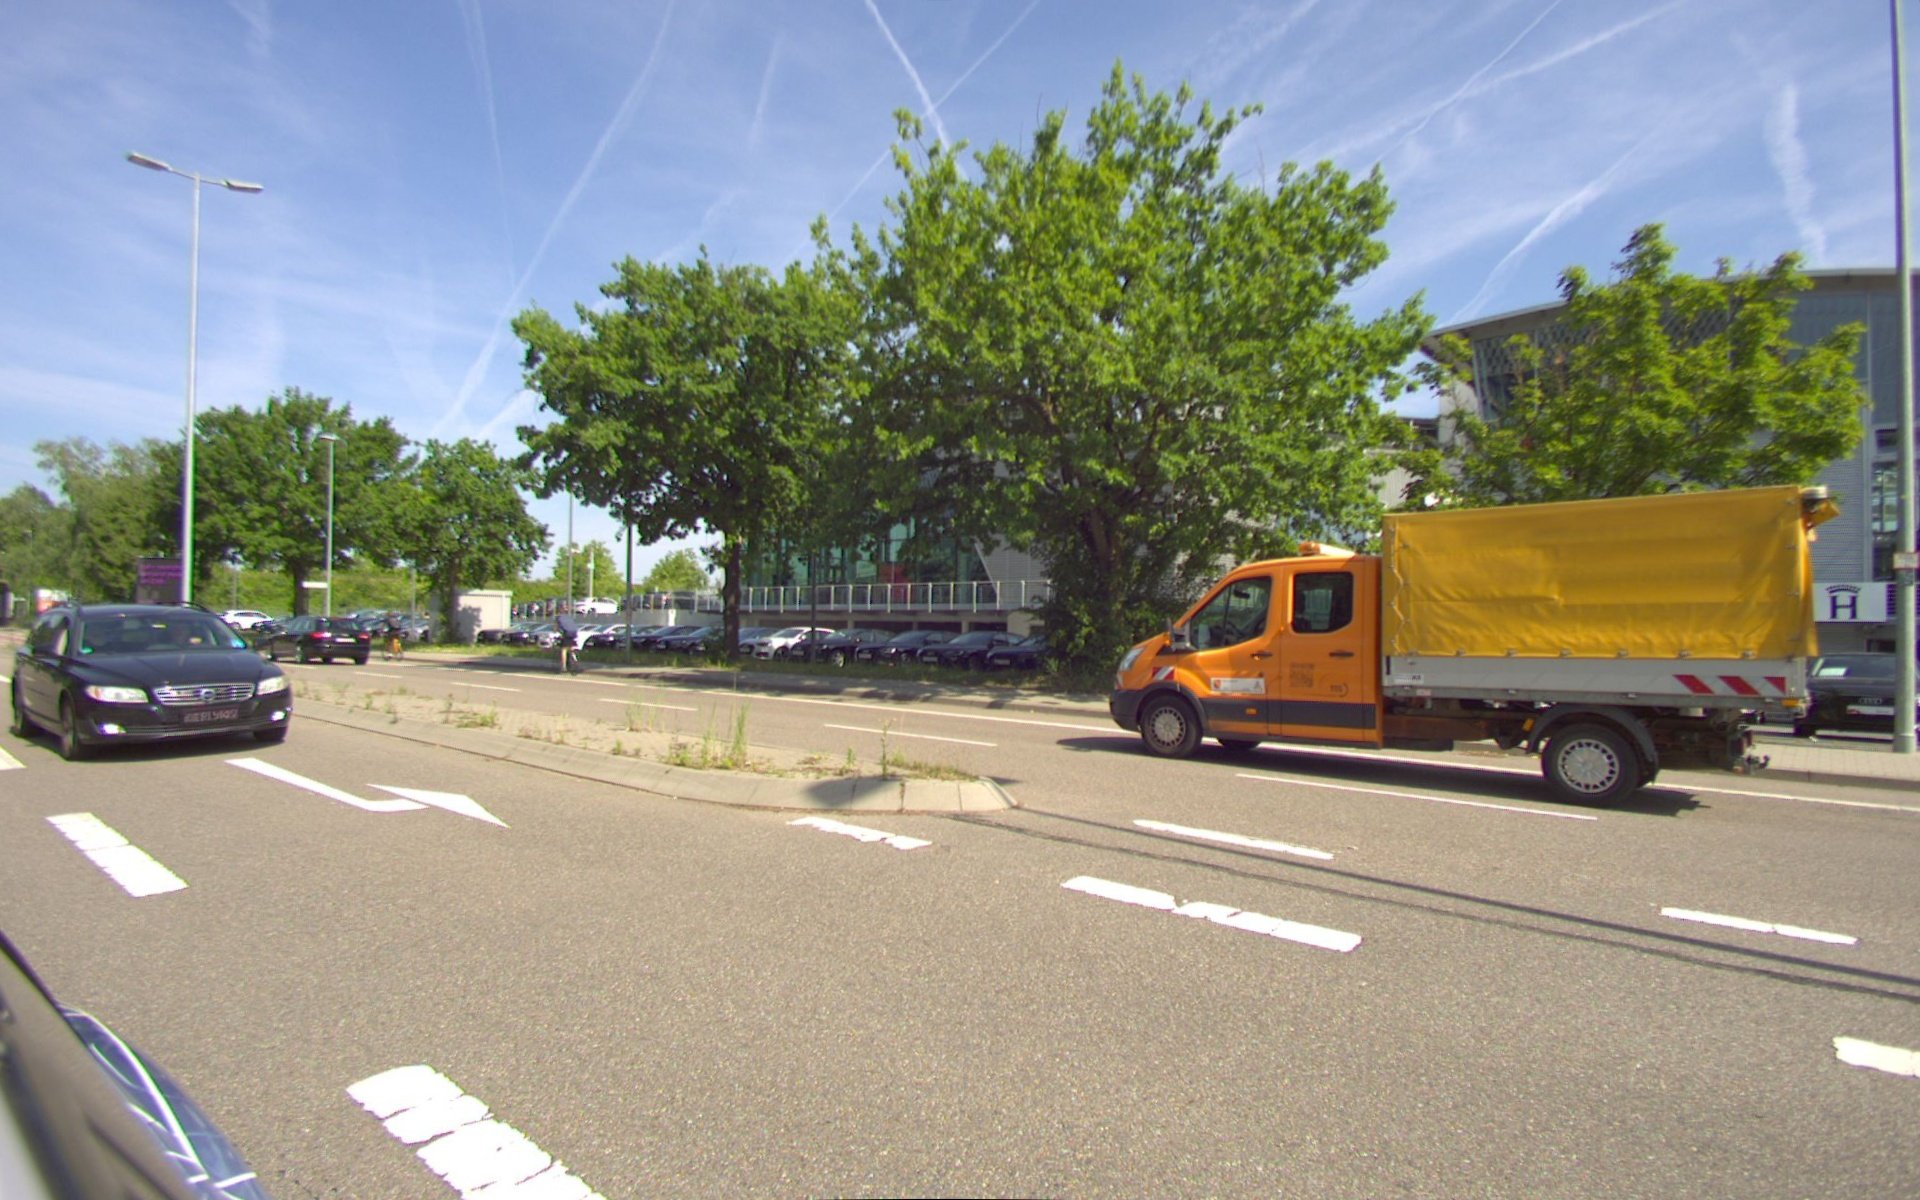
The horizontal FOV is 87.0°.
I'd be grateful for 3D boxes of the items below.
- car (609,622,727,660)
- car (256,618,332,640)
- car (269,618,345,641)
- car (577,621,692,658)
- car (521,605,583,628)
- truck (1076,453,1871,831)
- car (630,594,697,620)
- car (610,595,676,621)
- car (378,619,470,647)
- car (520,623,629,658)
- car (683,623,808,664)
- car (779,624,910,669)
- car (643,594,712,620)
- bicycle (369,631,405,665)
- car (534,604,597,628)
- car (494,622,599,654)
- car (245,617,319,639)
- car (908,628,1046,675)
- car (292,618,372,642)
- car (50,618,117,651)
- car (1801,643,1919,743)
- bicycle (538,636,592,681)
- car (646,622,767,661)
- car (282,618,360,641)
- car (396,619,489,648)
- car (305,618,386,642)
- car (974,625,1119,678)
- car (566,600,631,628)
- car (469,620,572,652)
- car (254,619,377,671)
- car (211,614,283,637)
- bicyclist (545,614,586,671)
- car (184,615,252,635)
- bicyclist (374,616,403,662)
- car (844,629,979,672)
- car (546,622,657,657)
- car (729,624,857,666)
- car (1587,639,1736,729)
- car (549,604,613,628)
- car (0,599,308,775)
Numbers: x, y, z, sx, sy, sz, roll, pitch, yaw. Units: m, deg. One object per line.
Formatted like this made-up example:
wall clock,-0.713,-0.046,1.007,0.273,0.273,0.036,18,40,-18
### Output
car,-11.390,1.623,39.648,1.690,1.269,4.141,-1,-5,42
car,-47.402,2.063,72.102,1.690,1.333,4.142,-1,-5,42
car,-45.464,2.069,70.524,1.690,1.333,4.141,-1,-5,42
car,-13.293,1.640,41.478,1.690,1.309,4.141,-1,-5,42
car,-32.019,1.324,79.430,1.690,1.510,4.141,-1,-5,42
truck,4.604,0.391,10.175,6.670,2.645,2.350,-1,-4,41
car,-20.371,0.524,69.693,1.690,1.510,4.141,-1,-5,42
car,-22.366,0.585,71.561,1.690,1.510,4.141,-1,-5,42
car,-29.874,1.846,56.453,1.690,1.333,4.141,-1,-5,42
car,-17.048,1.833,44.916,1.690,1.335,4.141,-1,-5,42
car,-7.573,1.570,36.081,1.690,1.215,4.141,-1,-5,42
car,-3.706,1.543,32.989,1.690,1.256,4.141,-1,-5,42
car,-18.817,0.465,67.470,1.690,1.416,4.141,-1,-5,42
bicycle,-20.163,1.687,35.613,1.770,1.159,0.565,-1,-4,43
car,-30.348,1.258,77.864,1.690,1.510,4.141,-1,-5,42
car,-18.998,1.750,46.636,1.690,1.256,4.141,-1,-5,42
car,-49.486,2.051,73.959,1.690,1.333,4.141,-1,-5,42
car,0.552,1.511,29.332,1.695,1.143,4.141,-1,-5,42
car,-41.569,2.007,67.032,1.690,1.333,4.141,-1,-5,42
car,-40.334,1.582,46.552,3.867,1.449,1.710,-1,-4,40
car,14.506,1.476,15.973,1.828,1.365,4.237,-1,-5,39
bicycle,-10.563,1.542,27.007,1.925,1.159,0.565,-1,-2,44
car,-9.413,1.571,37.815,1.690,1.264,4.141,-1,-5,42
car,-43.497,2.015,68.909,1.690,1.333,4.141,-1,-5,42
car,-27.964,1.802,54.772,1.690,1.333,4.141,-1,-5,42
car,-39.650,1.960,65.376,1.690,1.333,4.141,-1,-5,42
car,2.429,1.425,27.609,1.796,1.236,4.141,-1,-5,42
car,-26.579,1.043,74.598,1.690,1.745,4.141,-1,-5,42
car,-20.890,1.734,48.222,1.690,1.333,4.141,-1,-5,42
car,-20.177,1.380,31.595,4.660,1.471,1.828,-1,-5,40
car,-54.141,1.976,76.877,1.690,1.510,4.141,-1,-5,42
bicyclist,-10.532,1.127,26.996,1.143,1.494,0.564,-1,-3,44
car,-60.049,2.027,81.941,1.690,1.389,4.141,-1,-5,42
bicyclist,-20.053,1.366,35.525,0.910,1.608,0.570,-1,-4,43
car,-1.433,1.574,31.249,1.719,1.131,4.141,-1,-5,42
car,-15.284,1.712,43.282,1.690,1.265,4.141,-1,-5,42
car,-5.651,1.555,34.555,1.690,1.204,4.141,-1,-5,42
car,12.376,1.475,17.756,1.833,1.365,4.069,-1,-5,39
car,-28.582,1.219,76.340,1.690,1.510,4.141,-1,-5,42
car,-9.054,0.792,11.141,4.866,1.533,1.858,-1,0,41
